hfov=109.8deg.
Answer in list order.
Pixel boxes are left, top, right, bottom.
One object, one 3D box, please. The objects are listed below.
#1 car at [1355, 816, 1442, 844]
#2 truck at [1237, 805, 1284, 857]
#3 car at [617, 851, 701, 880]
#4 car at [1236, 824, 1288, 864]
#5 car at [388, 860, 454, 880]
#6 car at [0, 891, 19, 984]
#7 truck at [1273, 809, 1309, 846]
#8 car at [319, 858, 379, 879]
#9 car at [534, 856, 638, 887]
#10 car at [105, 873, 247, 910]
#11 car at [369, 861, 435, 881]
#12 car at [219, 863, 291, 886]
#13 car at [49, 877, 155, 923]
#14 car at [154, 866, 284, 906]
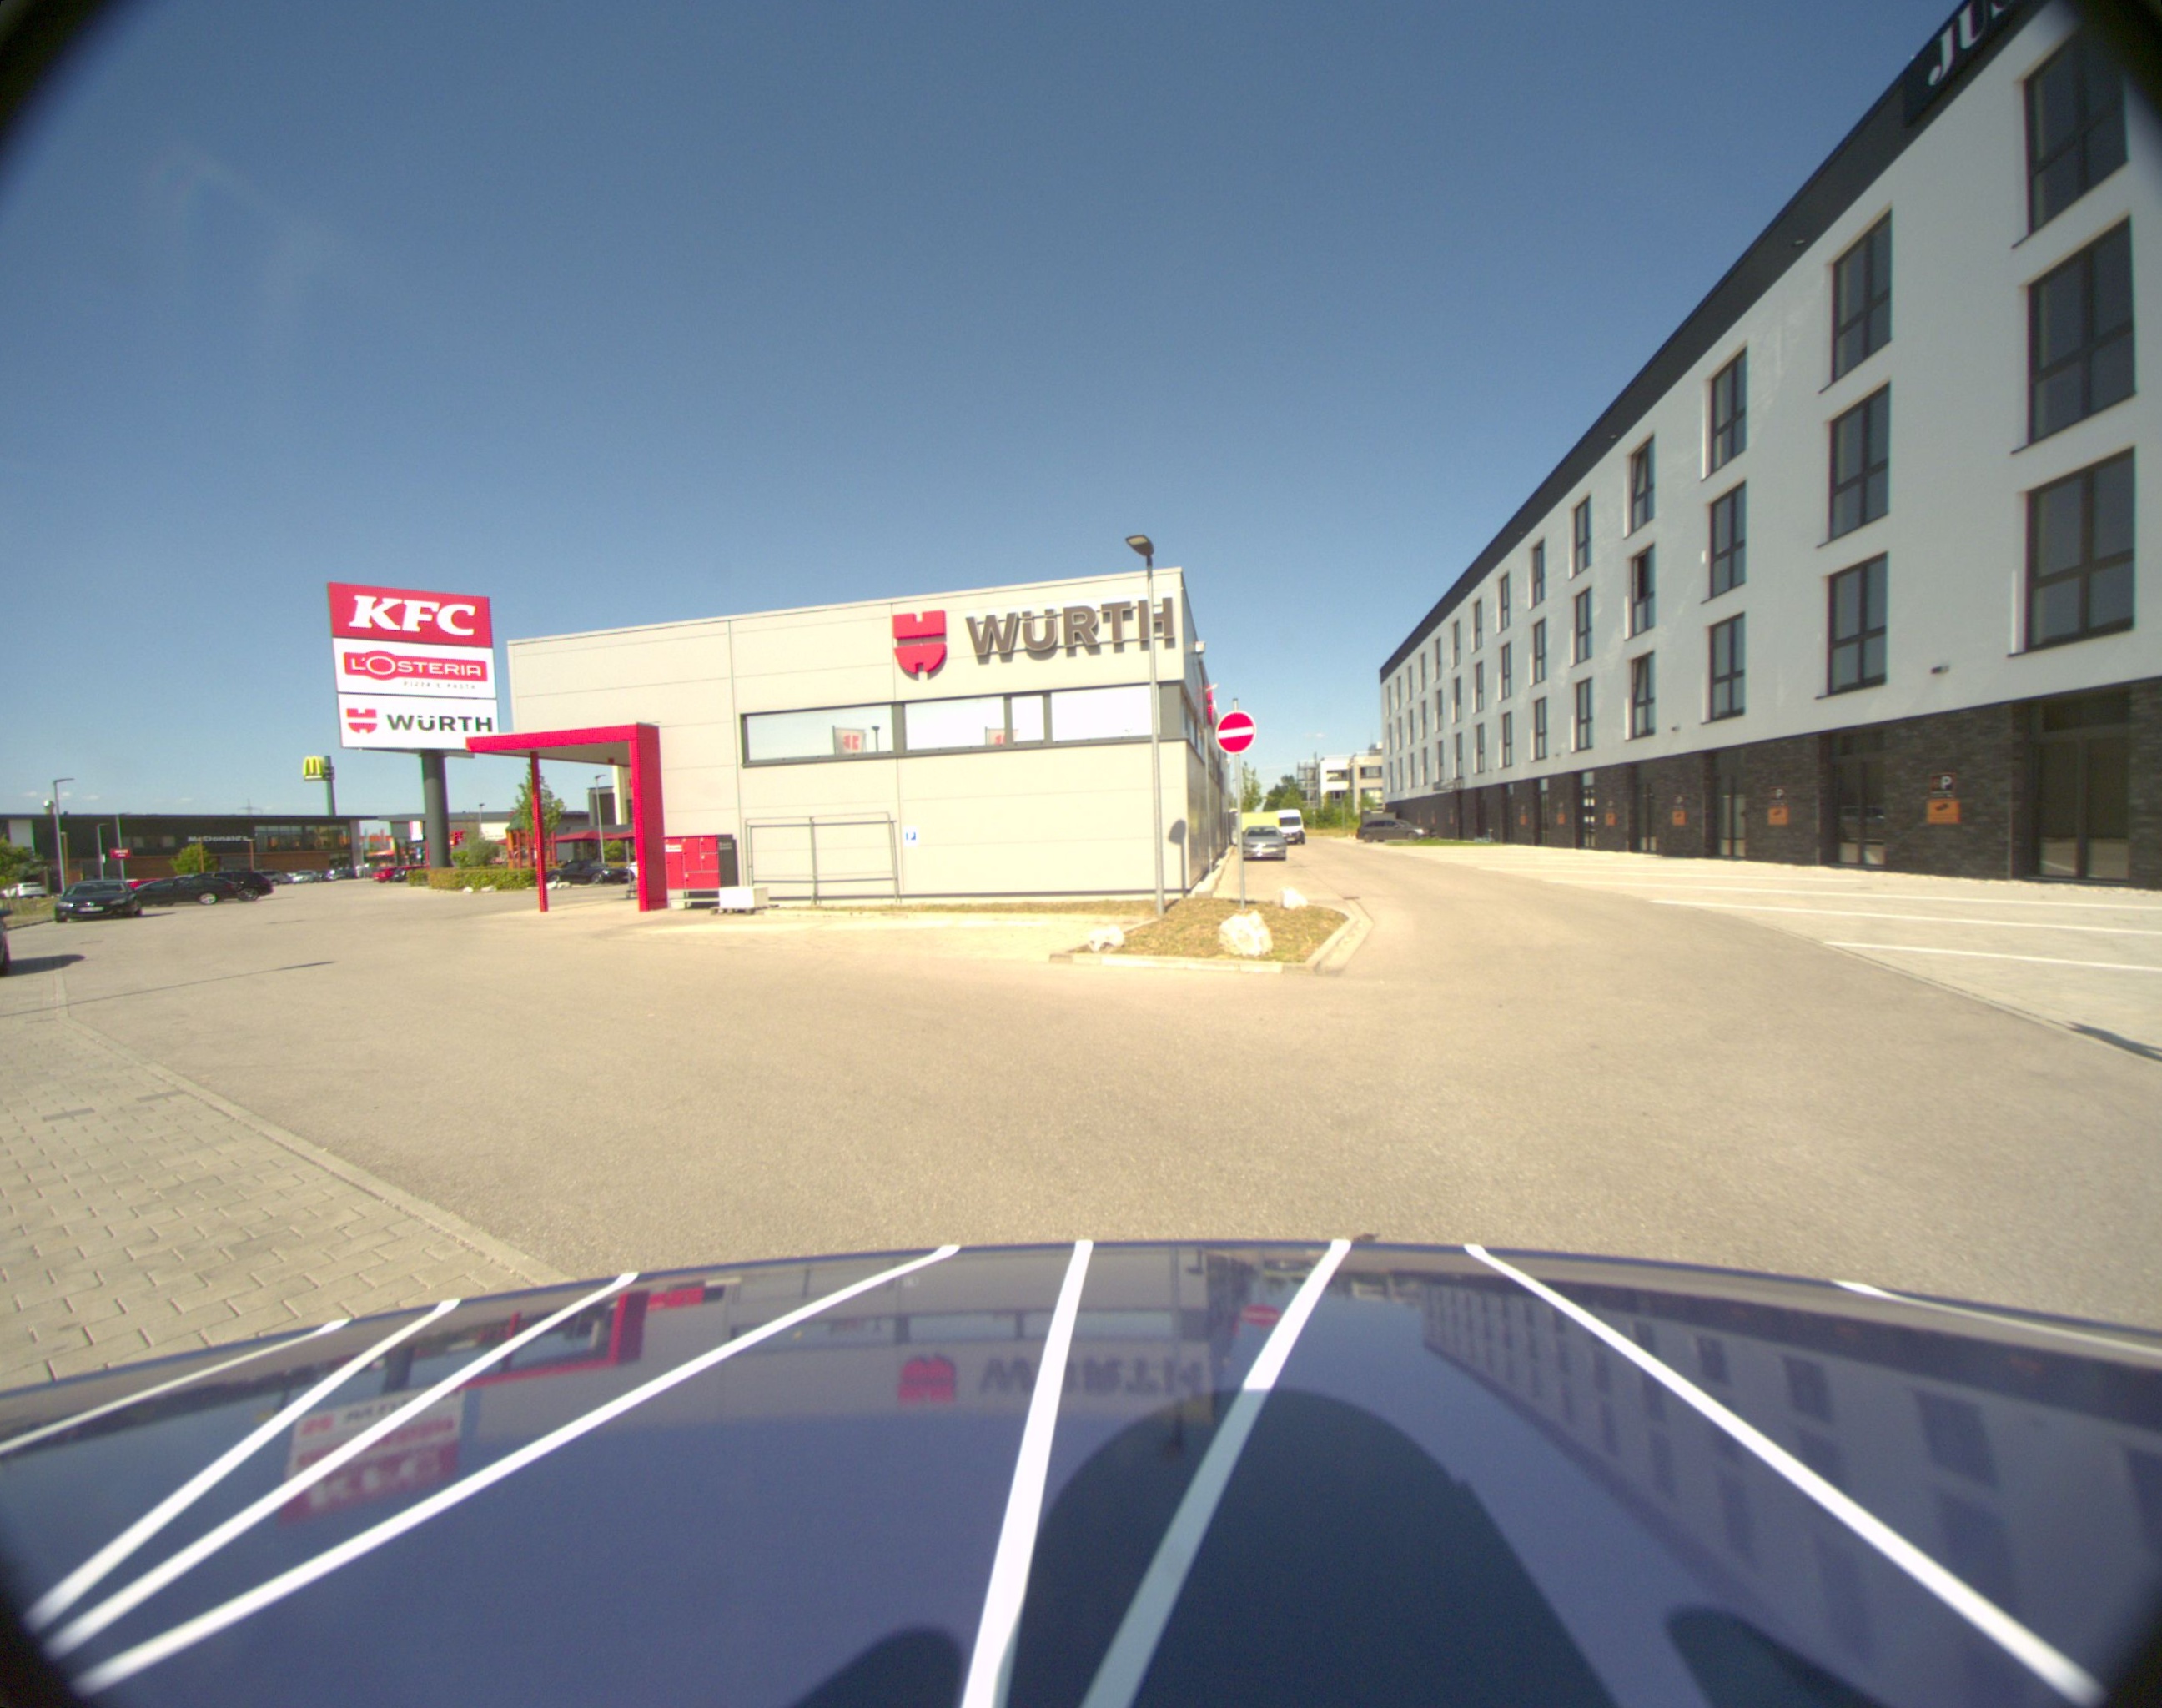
[{"bbox_3d":[19.379,-1.462,46.559,1.883,1.499,4.512,-4,2,-42],"label":"car"},{"bbox_3d":[9.107,-1.201,38.895,2.120,2.363,5.893,-2,2,12],"label":"truck"},{"bbox_3d":[-23.694,0.636,42.709,3.906,1.466,1.805,-2,2,16],"label":"car"},{"bbox_3d":[7.639,-0.466,32.409,1.876,1.499,4.002,-2,2,10],"label":"car"},{"bbox_3d":[-60.507,1.451,69.730,1.874,1.557,4.102,-2,2,23],"label":"car"},{"bbox_3d":[-19.386,1.430,12.636,4.215,1.441,1.849,-1,2,37],"label":"car"},{"bbox_3d":[14.712,-1.874,53.555,1.997,2.363,5.893,-2,2,12],"label":"truck"},{"bbox_3d":[-84.629,1.649,87.909,1.995,2.003,4.489,-2,3,23],"label":"car"},{"bbox_3d":[-24.685,0.854,37.951,4.148,1.330,1.832,-2,2,11],"label":"car"},{"bbox_3d":[-46.494,1.868,39.133,1.994,1.450,4.542,-1,2,39],"label":"car"},{"bbox_3d":[-63.076,1.580,70.637,1.874,1.557,4.102,-2,2,23],"label":"car"},{"bbox_3d":[-85.724,2.071,78.934,1.995,2.003,4.489,-2,3,23],"label":"car"},{"bbox_3d":[-37.220,1.690,29.003,4.351,1.457,1.882,-1,3,45],"label":"car"},{"bbox_3d":[-48.589,1.747,42.995,4.542,1.825,1.994,-4,2,-41],"label":"car"}]
